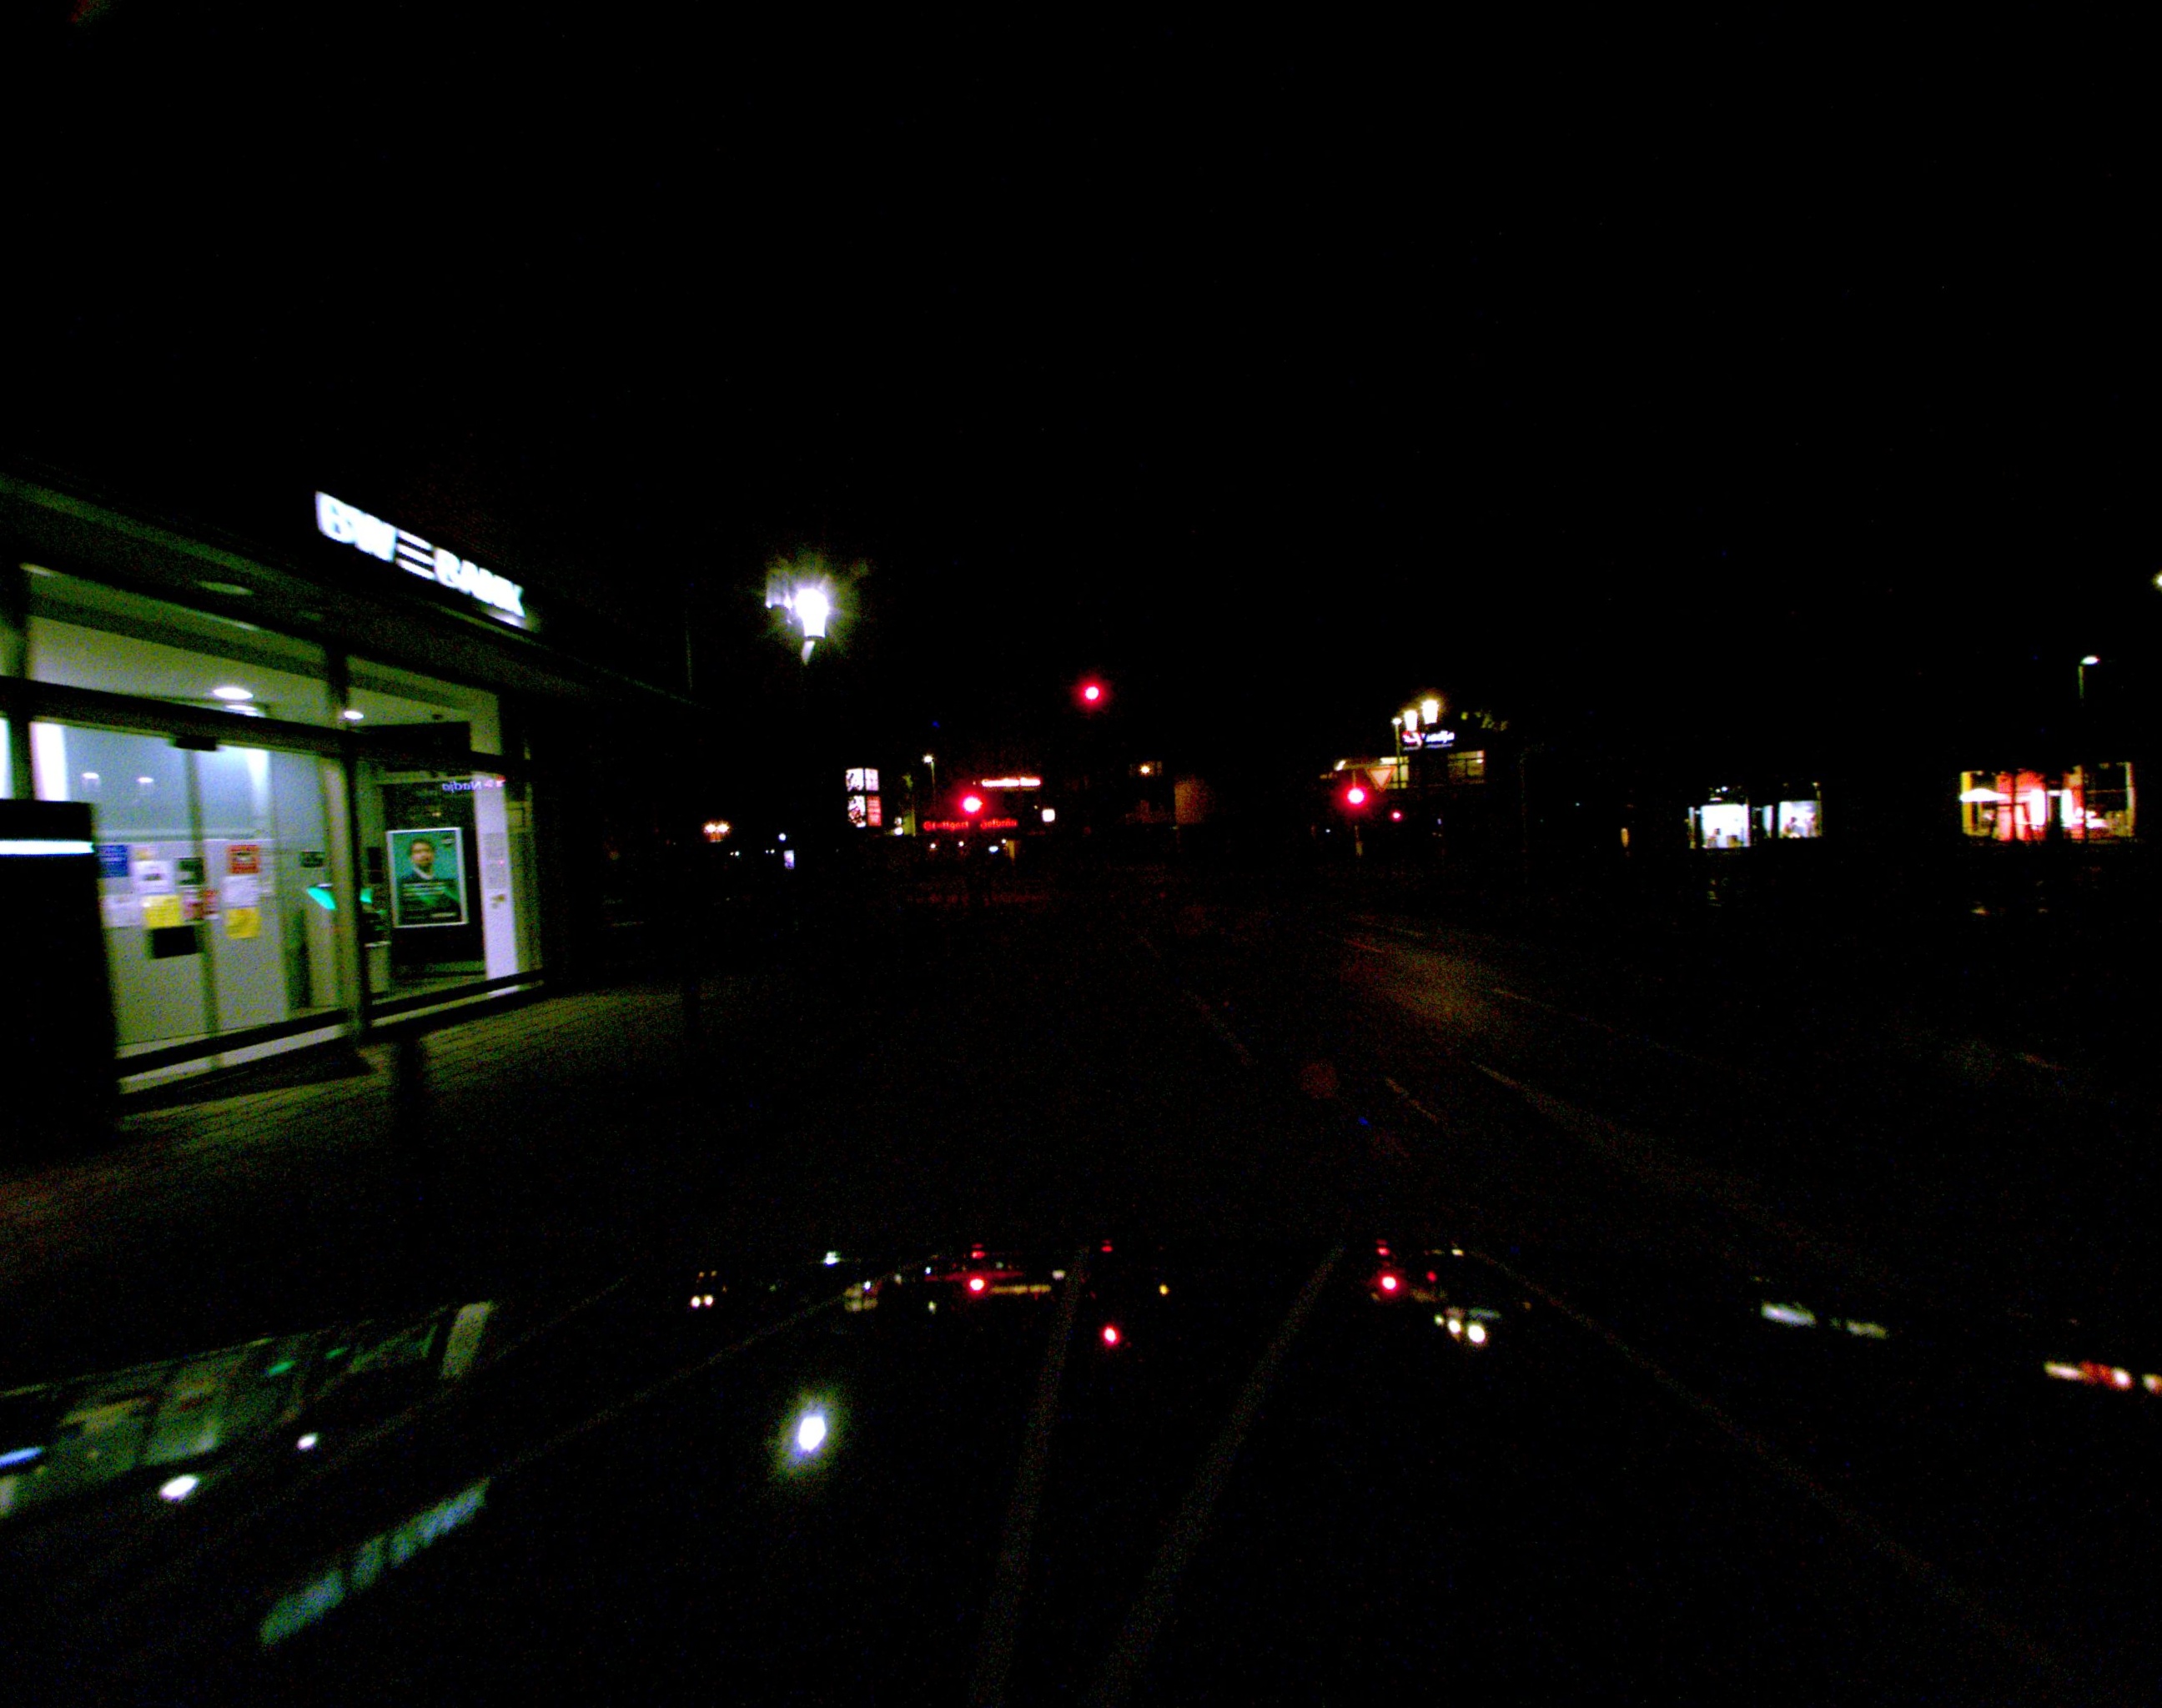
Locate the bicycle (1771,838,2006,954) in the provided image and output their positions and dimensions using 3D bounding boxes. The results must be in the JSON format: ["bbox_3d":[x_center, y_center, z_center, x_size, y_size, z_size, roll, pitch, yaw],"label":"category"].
[{"bbox_3d":[9.315,0.466,8.829,1.738,1.160,0.787,-5,1,5],"label":"bicycle"}]

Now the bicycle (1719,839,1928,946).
[{"bbox_3d":[9.331,0.467,9.610,1.738,1.151,0.787,-5,2,5],"label":"bicycle"}]

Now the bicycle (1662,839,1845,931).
[{"bbox_3d":[9.715,0.431,11.031,1.838,1.151,0.787,-5,2,5],"label":"bicycle"}]
